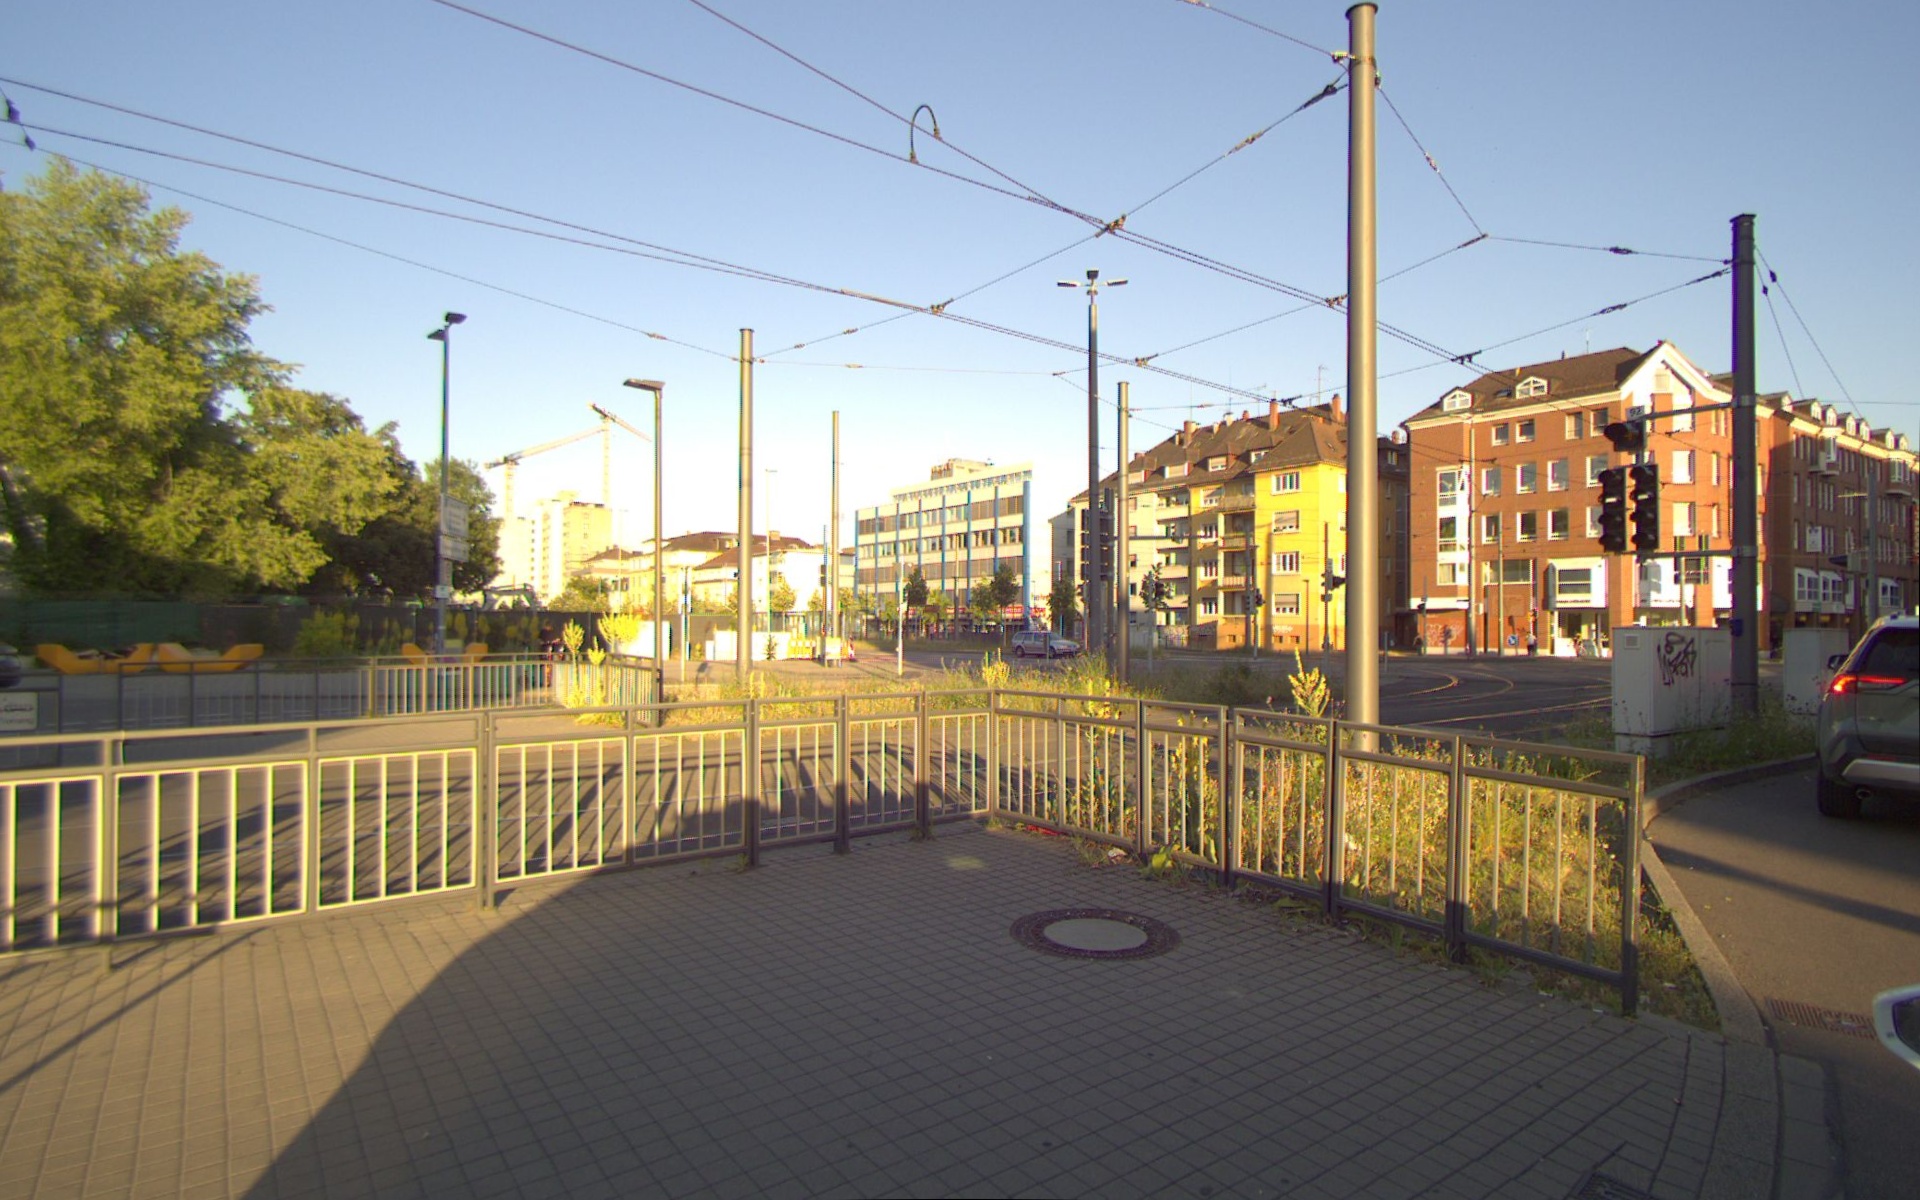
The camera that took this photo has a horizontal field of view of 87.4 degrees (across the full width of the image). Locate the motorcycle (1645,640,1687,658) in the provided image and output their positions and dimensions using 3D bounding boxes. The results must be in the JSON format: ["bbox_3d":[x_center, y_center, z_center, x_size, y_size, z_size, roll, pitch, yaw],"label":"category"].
[{"bbox_3d":[38.616,2.665,54.975,0.428,0.920,1.819,2,0,-38],"label":"motorcycle"}]

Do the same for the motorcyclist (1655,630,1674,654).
[{"bbox_3d":[38.594,2.292,55.026,0.782,1.237,0.698,2,0,-40],"label":"motorcyclist"}]

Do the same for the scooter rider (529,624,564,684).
[{"bbox_3d":[-11.307,1.465,27.469,0.577,1.614,0.656,1,0,35],"label":"scooter rider"}]

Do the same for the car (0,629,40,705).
[{"bbox_3d":[-22.393,1.387,21.318,3.920,1.567,2.000,2,0,2],"label":"car"}]

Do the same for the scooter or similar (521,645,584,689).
[{"bbox_3d":[-10.906,1.790,26.937,0.419,1.097,1.620,1,0,31],"label":"scooter or similar"}]

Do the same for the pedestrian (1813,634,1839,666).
[{"bbox_3d":[58.201,3.363,67.520,1.152,2.040,1.085,2,0,-36],"label":"pedestrian"}]

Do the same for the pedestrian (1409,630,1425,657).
[{"bbox_3d":[31.442,2.992,69.107,0.656,1.765,0.689,2,-1,-12],"label":"pedestrian"}]

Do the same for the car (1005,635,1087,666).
[{"bbox_3d":[4.648,2.711,54.614,1.985,1.572,4.300,2,-2,-41],"label":"car"}]

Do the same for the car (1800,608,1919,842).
[{"bbox_3d":[8.485,0.921,8.331,4.060,1.658,1.818,1,0,-43],"label":"car"}]

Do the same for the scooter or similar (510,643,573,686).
[{"bbox_3d":[-11.396,1.742,27.381,0.419,1.077,1.620,1,0,31],"label":"scooter or similar"}]

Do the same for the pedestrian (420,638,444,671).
[{"bbox_3d":[-20.183,2.082,38.374,0.697,1.227,0.719,2,0,-35],"label":"pedestrian"}]

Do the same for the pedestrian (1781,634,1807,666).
[{"bbox_3d":[55.116,3.302,66.371,0.900,2.040,1.085,2,0,-36],"label":"pedestrian"}]

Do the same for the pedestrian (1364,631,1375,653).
[{"bbox_3d":[30.730,3.155,75.366,0.496,1.664,0.547,2,0,-35],"label":"pedestrian"}]

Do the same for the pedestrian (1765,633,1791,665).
[{"bbox_3d":[53.492,3.192,65.687,0.900,2.040,1.085,2,0,-36],"label":"pedestrian"}]
